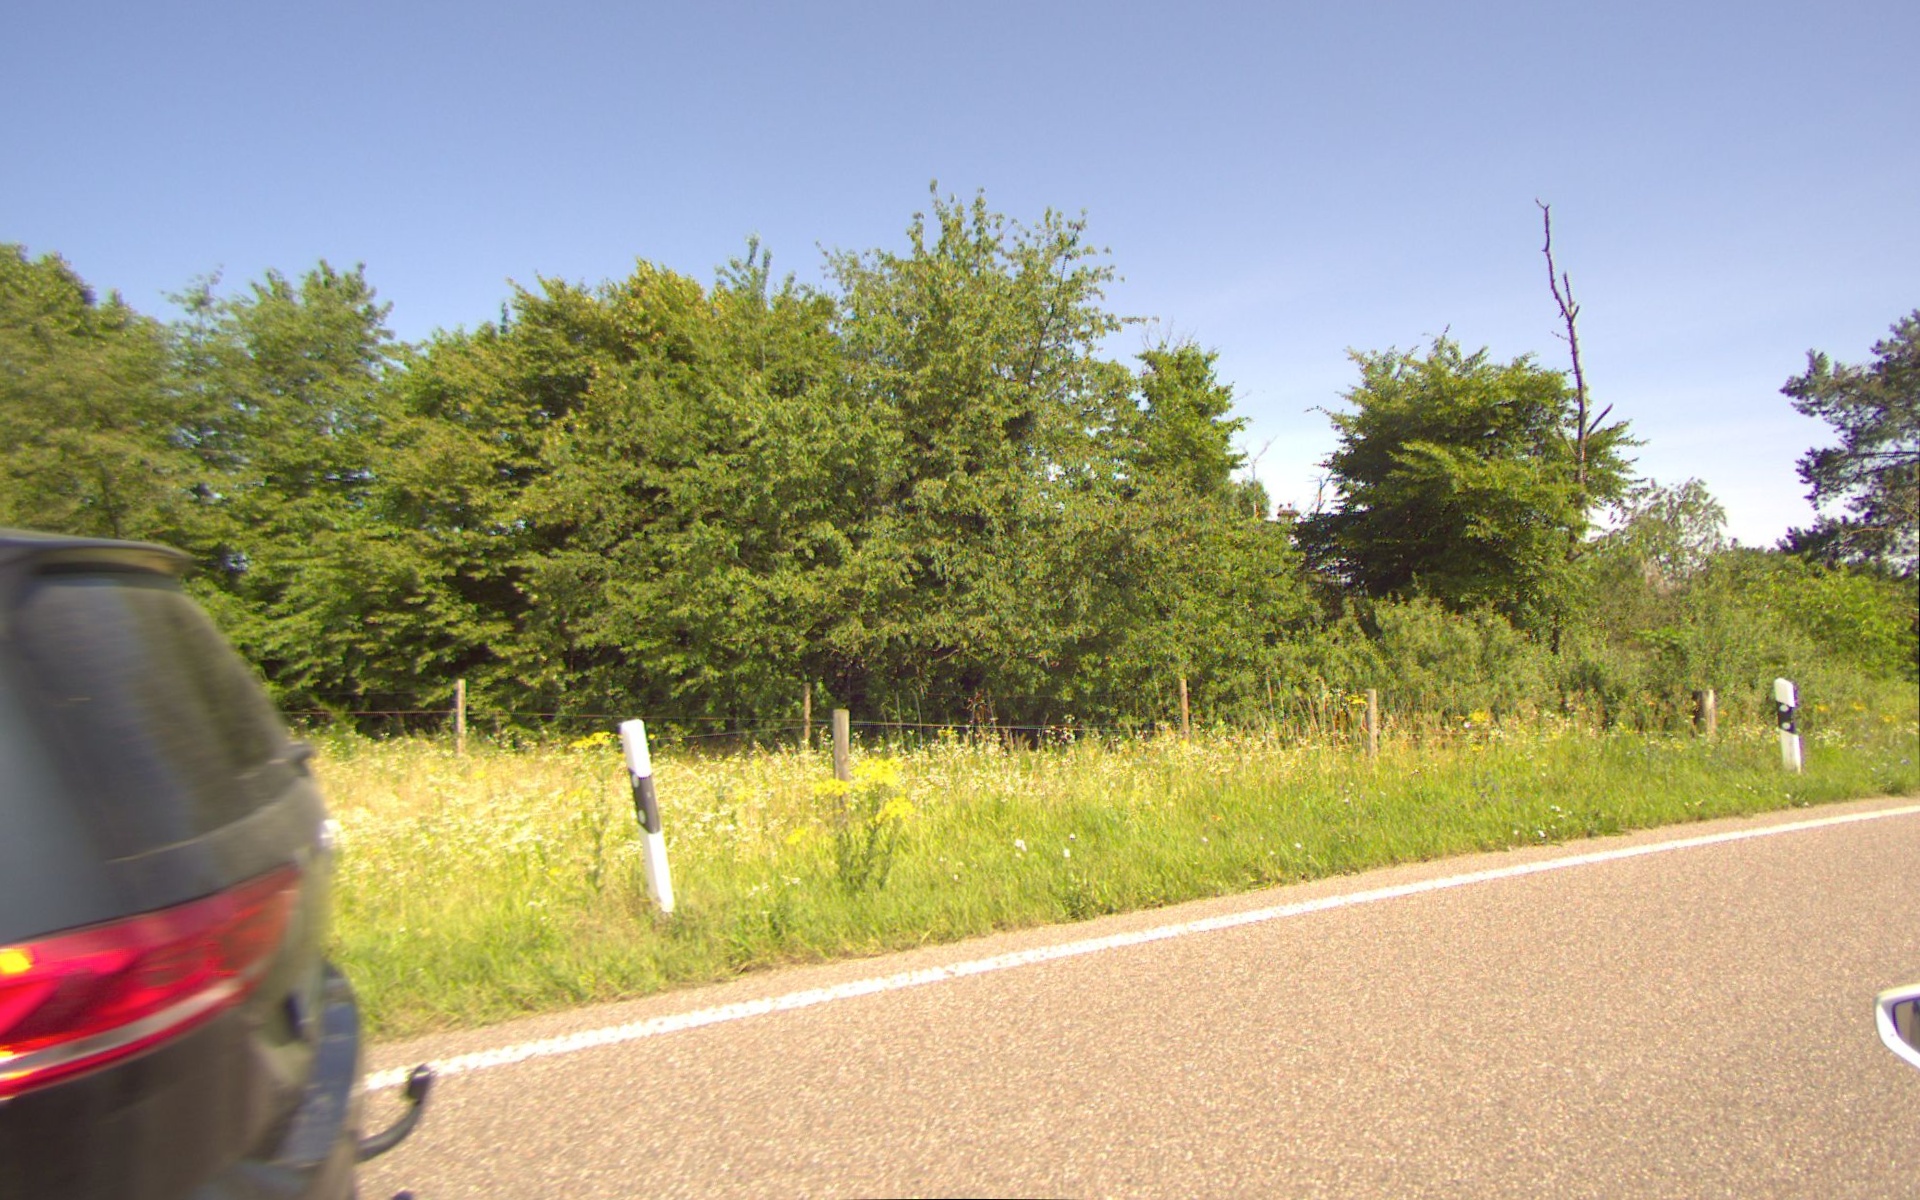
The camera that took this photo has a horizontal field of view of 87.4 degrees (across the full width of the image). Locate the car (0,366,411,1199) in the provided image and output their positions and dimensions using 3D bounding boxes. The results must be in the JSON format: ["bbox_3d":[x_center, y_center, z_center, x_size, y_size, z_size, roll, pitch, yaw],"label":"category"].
[{"bbox_3d":[-2.915,0.568,1.034,4.111,1.654,1.775,0,0,-30],"label":"car"}]
